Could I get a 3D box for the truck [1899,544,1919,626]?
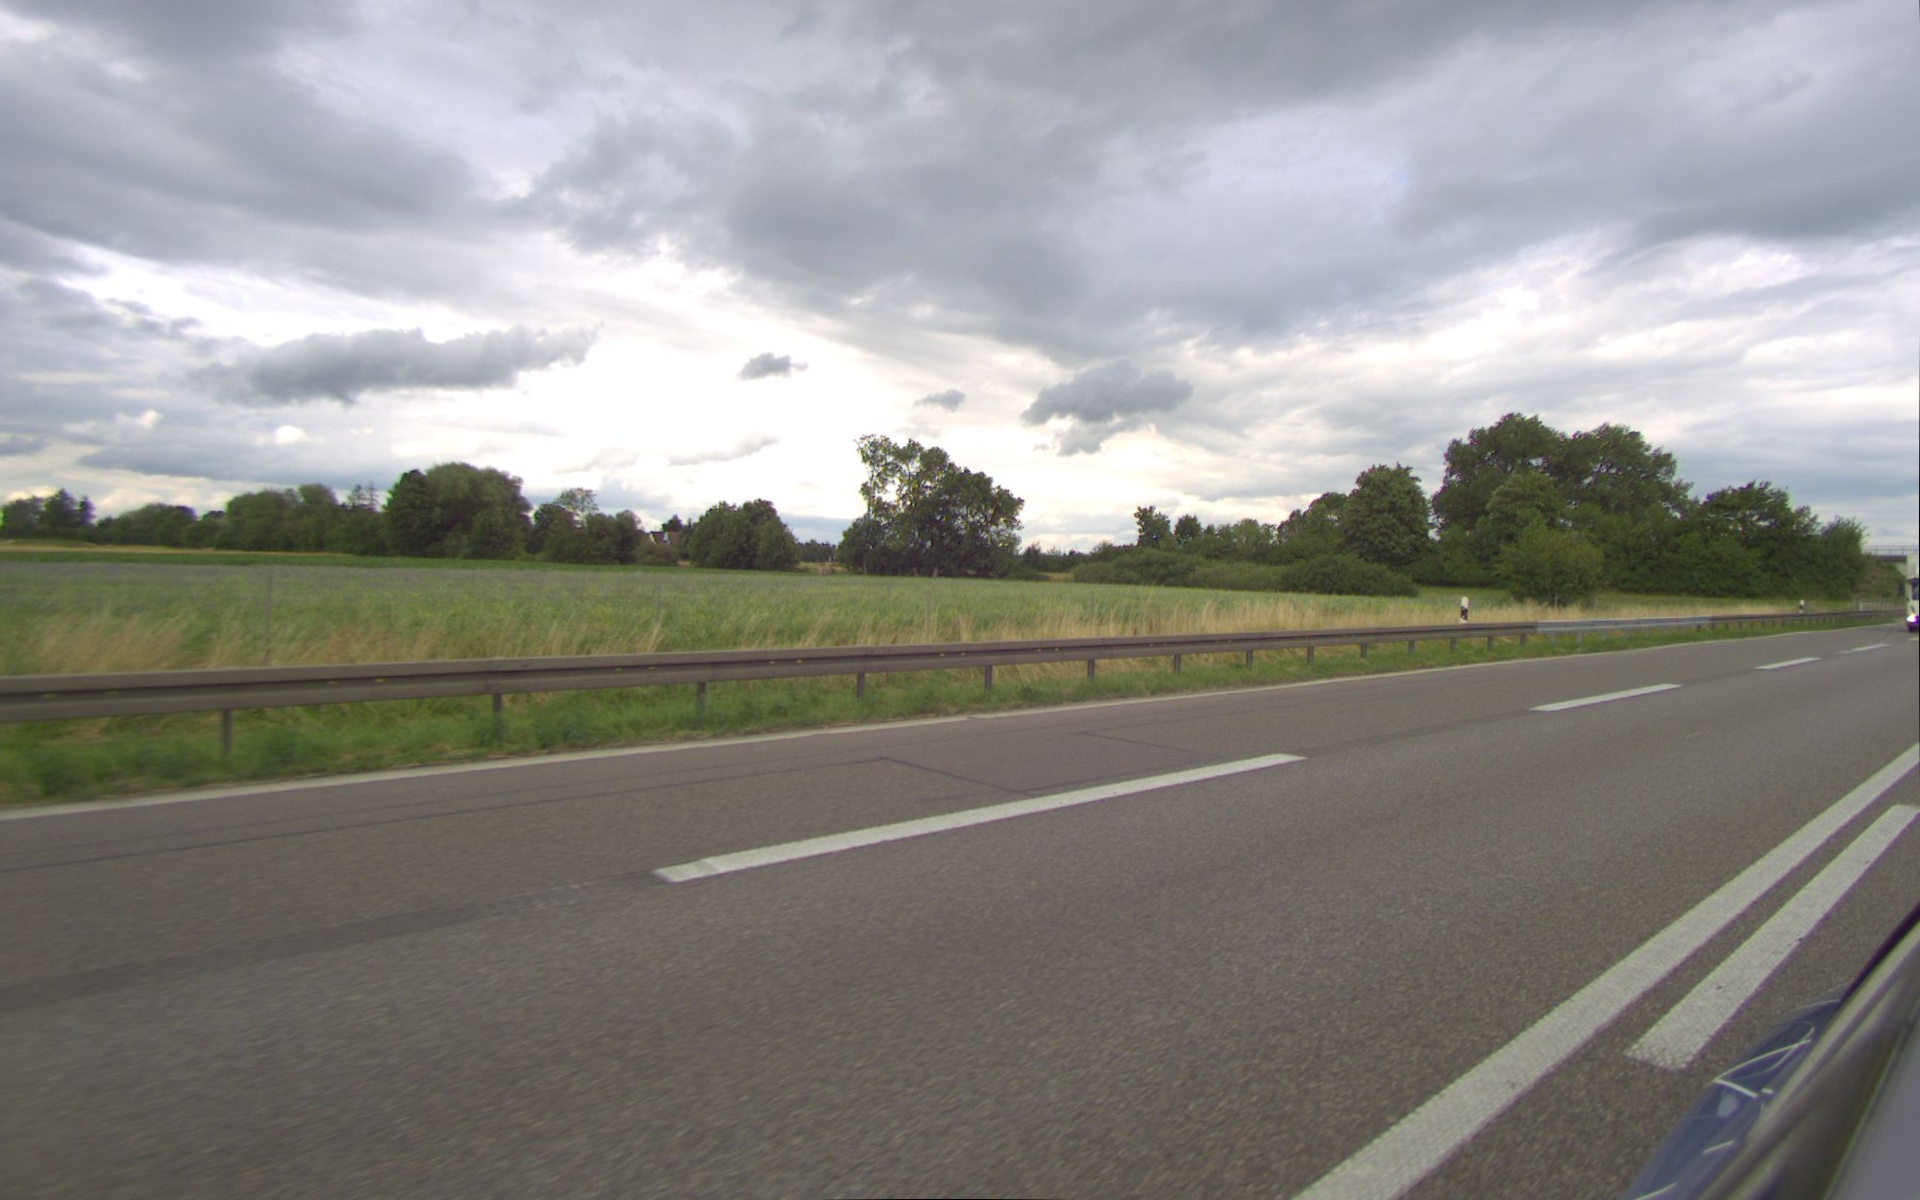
[{"bbox_3d":[45.094,-0.659,45.632,8.735,3.514,3.109,0,0,-41],"label":"truck"}]
